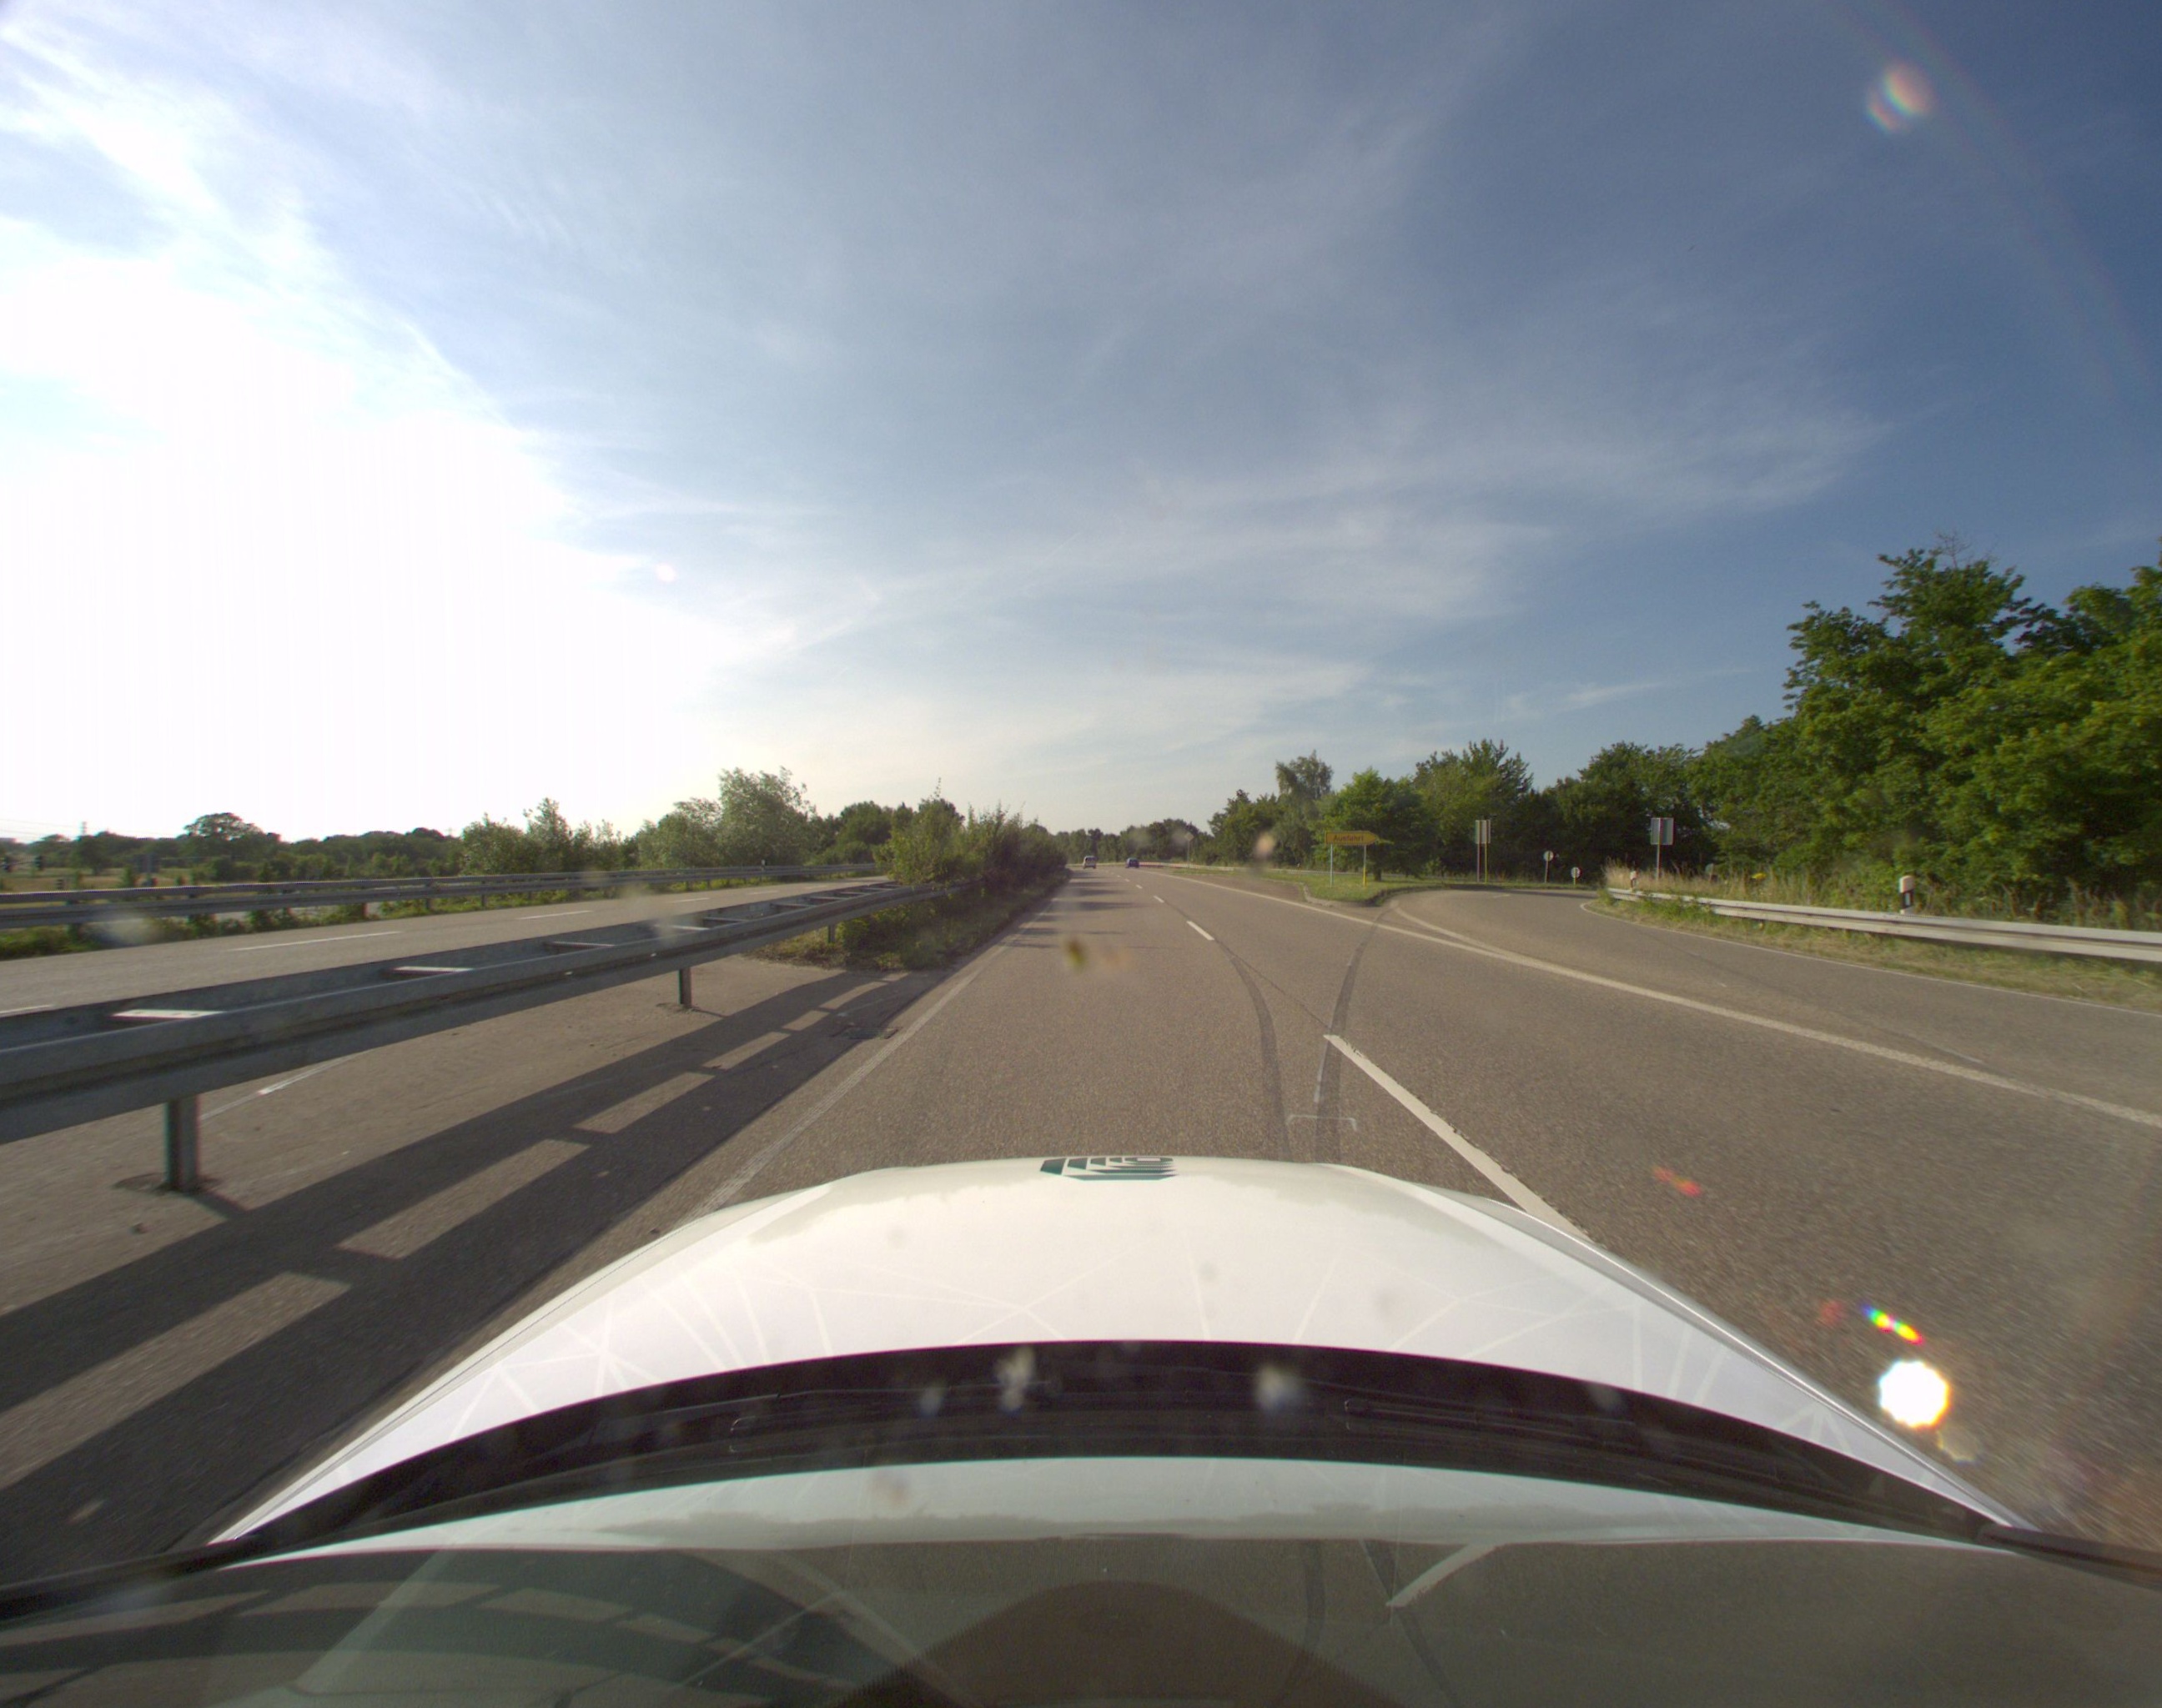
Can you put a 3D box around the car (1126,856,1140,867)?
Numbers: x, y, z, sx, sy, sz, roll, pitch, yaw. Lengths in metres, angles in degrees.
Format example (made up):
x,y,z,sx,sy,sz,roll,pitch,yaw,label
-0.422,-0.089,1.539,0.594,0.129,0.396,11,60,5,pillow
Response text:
x,y,z,sx,sy,sz,roll,pitch,yaw,label
7.700,1.132,120.639,1.774,1.452,3.997,-1,-1,-1,car

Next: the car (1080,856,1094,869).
x,y,z,sx,sy,sz,roll,pitch,yaw,label
0.829,1.234,118.173,1.761,1.882,3.997,-1,-1,-2,car
